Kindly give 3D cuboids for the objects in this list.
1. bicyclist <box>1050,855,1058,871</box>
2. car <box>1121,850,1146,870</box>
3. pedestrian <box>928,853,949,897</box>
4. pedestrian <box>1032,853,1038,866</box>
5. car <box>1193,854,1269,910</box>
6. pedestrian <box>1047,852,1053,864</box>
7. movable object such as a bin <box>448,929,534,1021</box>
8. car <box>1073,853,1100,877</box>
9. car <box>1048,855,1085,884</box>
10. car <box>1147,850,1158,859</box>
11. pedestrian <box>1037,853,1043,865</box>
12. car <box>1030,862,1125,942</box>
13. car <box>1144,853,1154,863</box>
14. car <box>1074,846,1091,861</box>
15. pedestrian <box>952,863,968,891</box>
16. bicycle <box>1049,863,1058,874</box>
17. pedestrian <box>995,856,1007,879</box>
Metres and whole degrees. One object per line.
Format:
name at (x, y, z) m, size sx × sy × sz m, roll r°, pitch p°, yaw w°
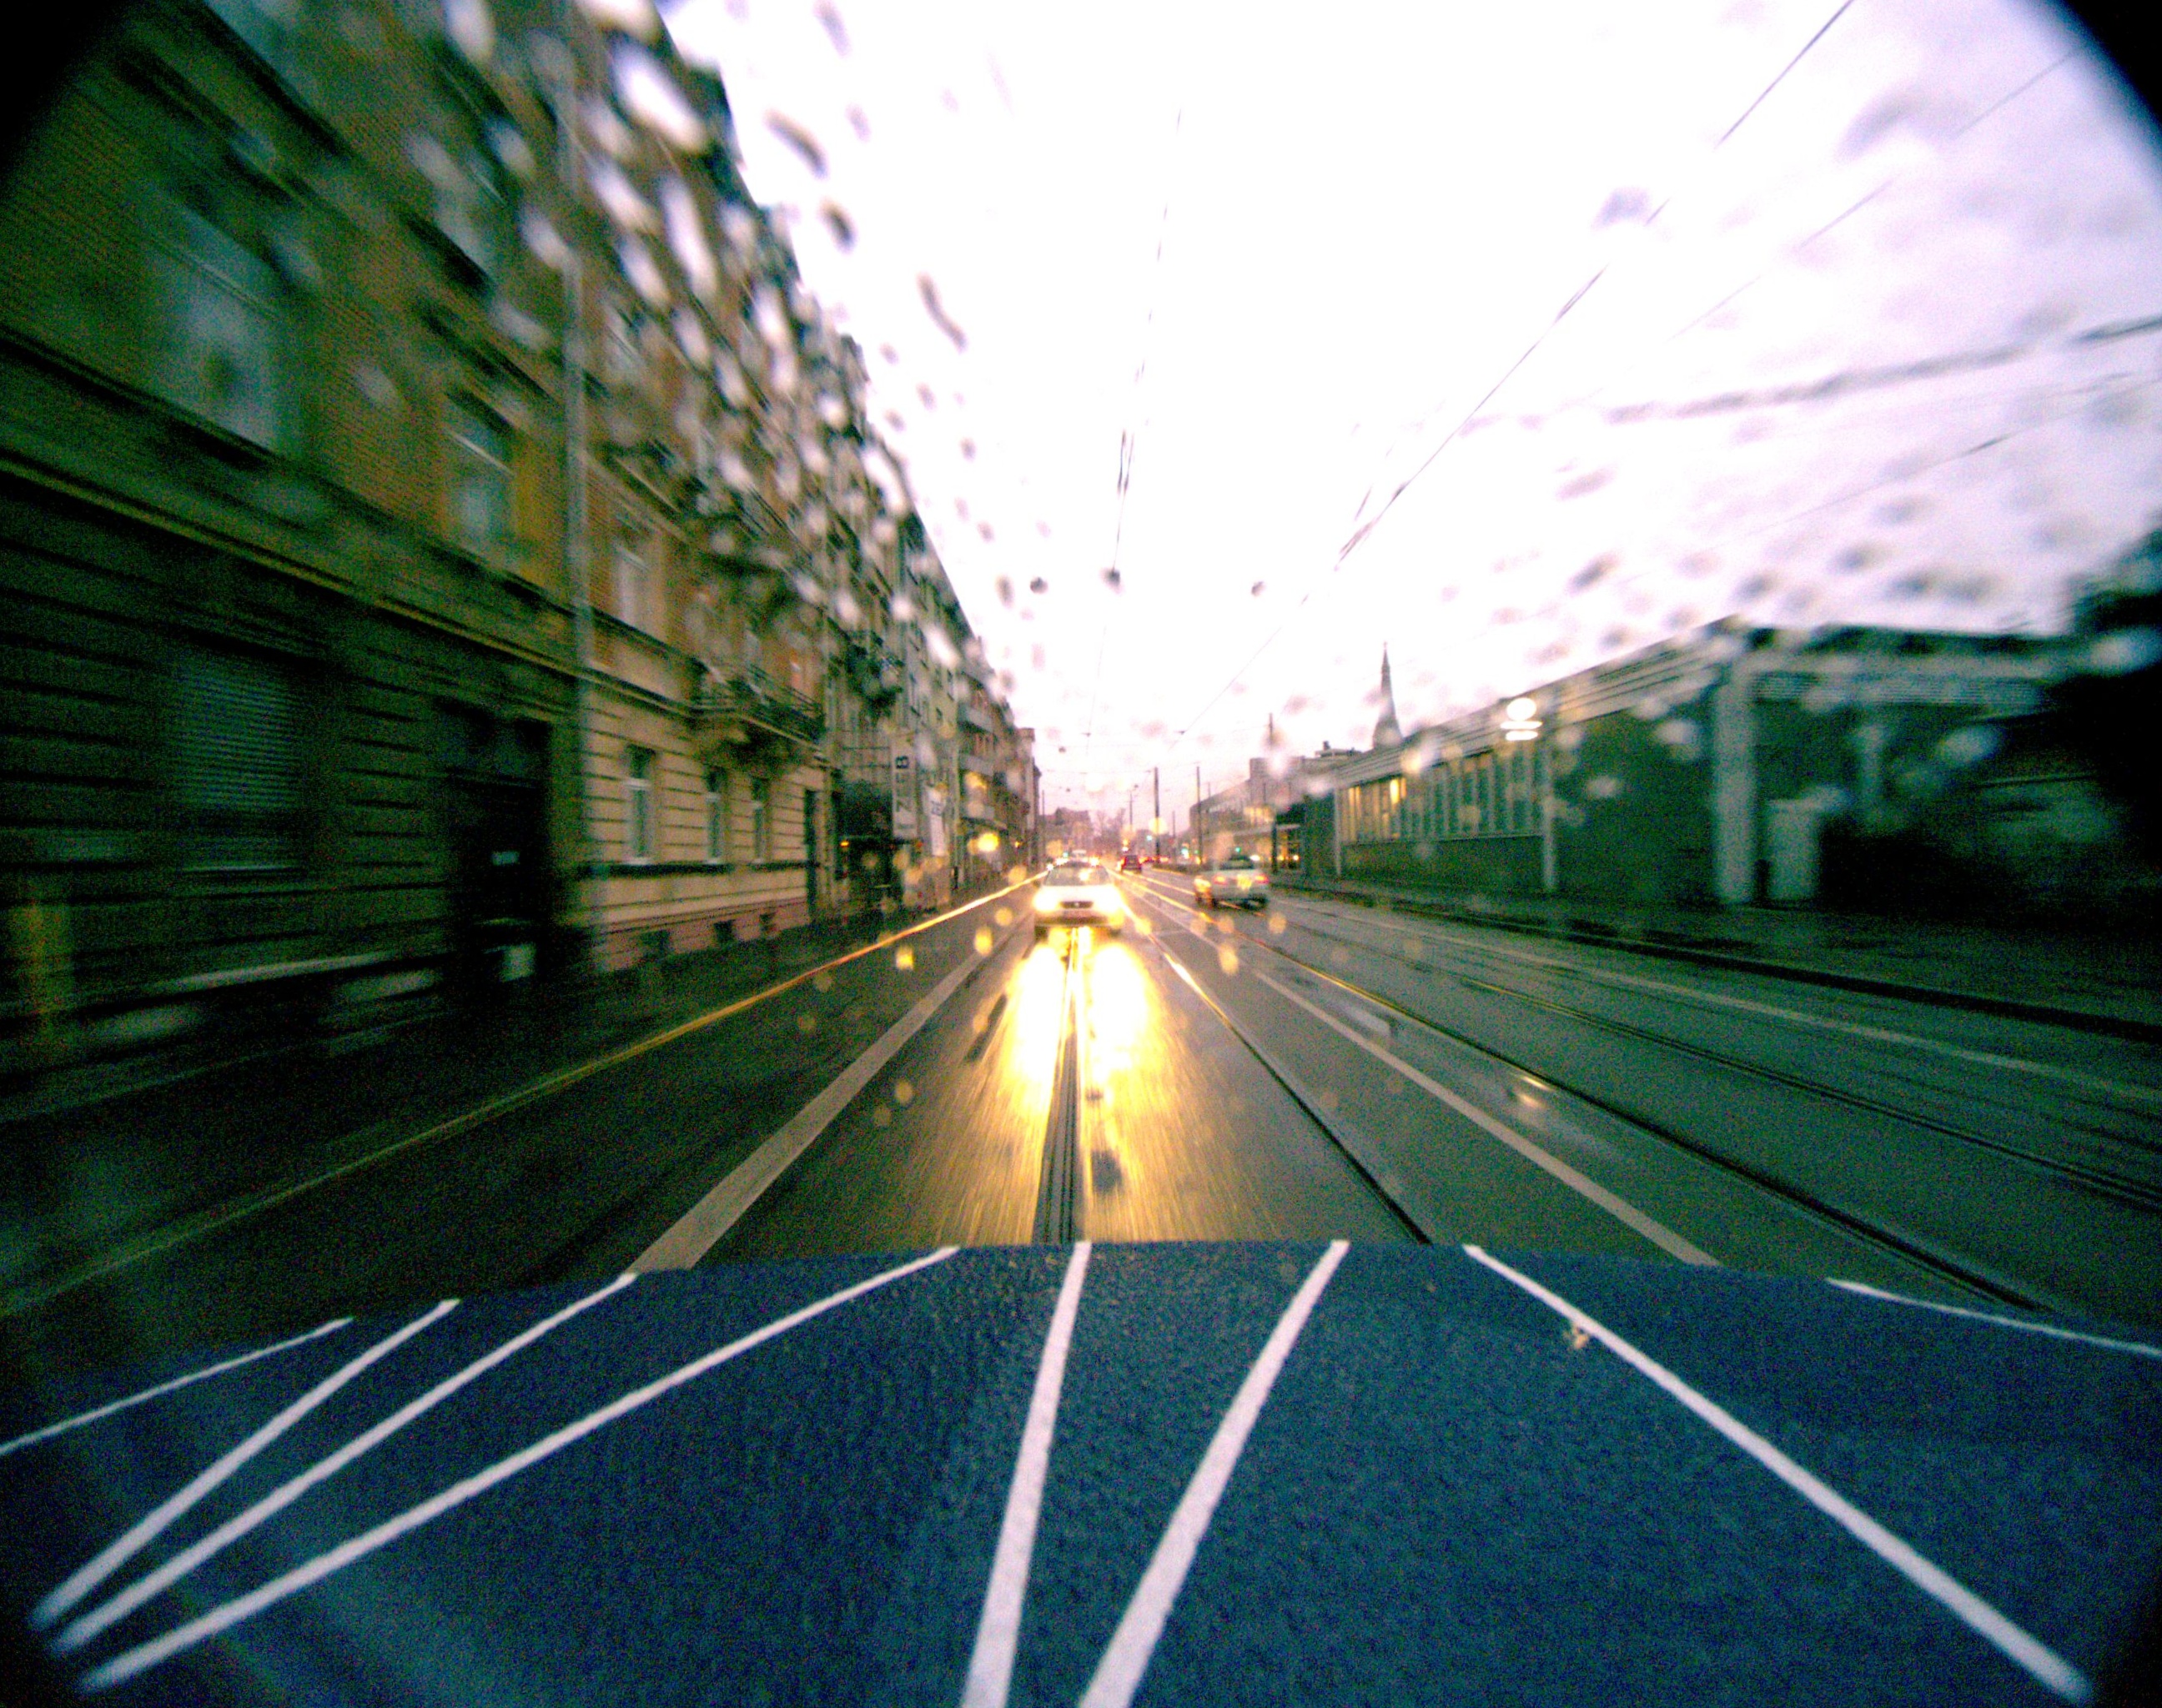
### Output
bicyclist at (-2.645, 0.842, 73.558) m, size 0.727 × 1.525 × 0.785 m, roll -2°, pitch 1°, yaw 0°
car at (4.709, 0.525, 68.827) m, size 1.880 × 1.700 × 4.760 m, roll -1°, pitch 0°, yaw 0°
pedestrian at (-6.033, 0.863, 32.169) m, size 0.601 × 1.808 × 0.774 m, roll -3°, pitch 1°, yaw -27°
pedestrian at (-6.311, 0.720, 103.646) m, size 0.777 × 1.734 × 0.673 m, roll -1°, pitch 1°, yaw 1°
car at (4.330, 0.765, 22.358) m, size 1.534 × 1.473 × 3.561 m, roll -2°, pitch 0°, yaw 1°
pedestrian at (-4.319, 0.537, 105.036) m, size 0.777 × 1.734 × 0.673 m, roll -1°, pitch 1°, yaw 1°
movable object such as a bin at (-6.485, 1.317, 8.373) m, size 0.508 × 0.926 × 0.507 m, roll -2°, pitch 1°, yaw -1°
car at (0.386, 0.765, 54.388) m, size 1.824 × 1.565 × 4.000 m, roll -2°, pitch 0°, yaw 0°
car at (-0.744, 0.805, 41.730) m, size 1.797 × 1.415 × 4.000 m, roll -2°, pitch 0°, yaw 2°
car at (13.404, 0.023, 142.636) m, size 1.845 × 1.569 × 4.442 m, roll -1°, pitch 0°, yaw 2°
pedestrian at (-5.708, 0.709, 104.951) m, size 0.777 × 1.734 × 0.673 m, roll -1°, pitch 1°, yaw 1°
car at (0.002, 0.951, 16.701) m, size 1.797 × 1.415 × 4.000 m, roll -2°, pitch 0°, yaw 2°
car at (14.654, 0.764, 163.245) m, size 1.998 × 2.002 × 4.685 m, roll -2°, pitch 1°, yaw 4°
car at (0.189, -0.077, 96.435) m, size 2.018 × 1.809 × 3.688 m, roll -2°, pitch 1°, yaw 0°
pedestrian at (-5.999, 1.142, 37.760) m, size 0.601 × 1.369 × 0.728 m, roll -2°, pitch 1°, yaw 0°
bicycle at (-2.636, 1.429, 73.543) m, size 0.725 × 0.985 × 2.212 m, roll -2°, pitch 0°, yaw 0°
pedestrian at (-5.735, 0.973, 54.697) m, size 0.788 × 1.588 × 0.741 m, roll -1°, pitch 1°, yaw -1°
